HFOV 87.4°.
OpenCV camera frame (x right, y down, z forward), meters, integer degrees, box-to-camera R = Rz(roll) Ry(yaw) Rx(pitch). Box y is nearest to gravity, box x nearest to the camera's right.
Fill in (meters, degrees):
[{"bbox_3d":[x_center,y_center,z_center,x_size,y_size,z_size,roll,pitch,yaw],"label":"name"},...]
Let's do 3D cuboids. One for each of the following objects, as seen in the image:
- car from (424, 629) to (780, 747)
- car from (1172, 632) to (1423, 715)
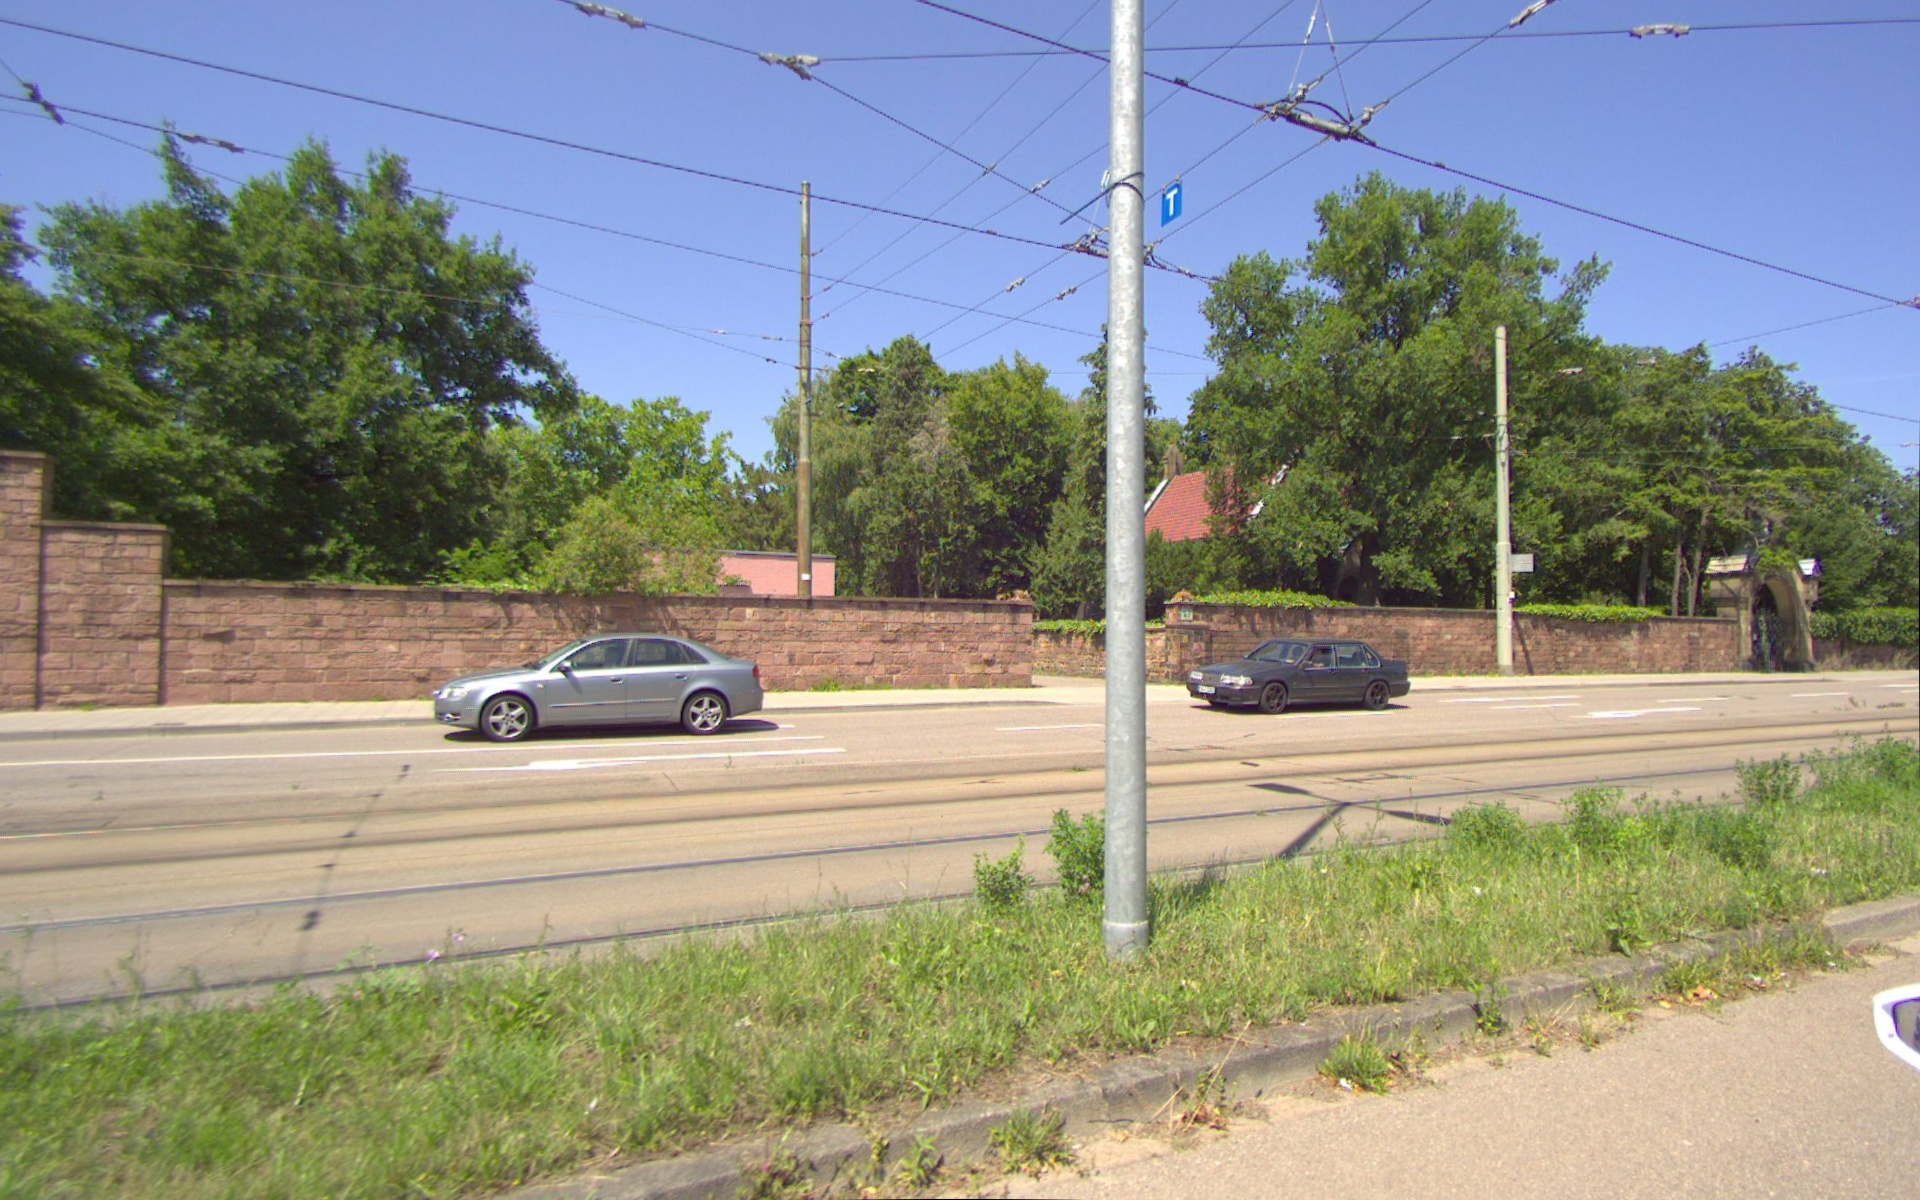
[{"bbox_3d":[-5.164,1.197,14.749,4.648,1.436,1.834,1,1,-26],"label":"car"},{"bbox_3d":[6.898,1.429,20.429,4.966,1.436,1.834,1,1,-26],"label":"car"}]
